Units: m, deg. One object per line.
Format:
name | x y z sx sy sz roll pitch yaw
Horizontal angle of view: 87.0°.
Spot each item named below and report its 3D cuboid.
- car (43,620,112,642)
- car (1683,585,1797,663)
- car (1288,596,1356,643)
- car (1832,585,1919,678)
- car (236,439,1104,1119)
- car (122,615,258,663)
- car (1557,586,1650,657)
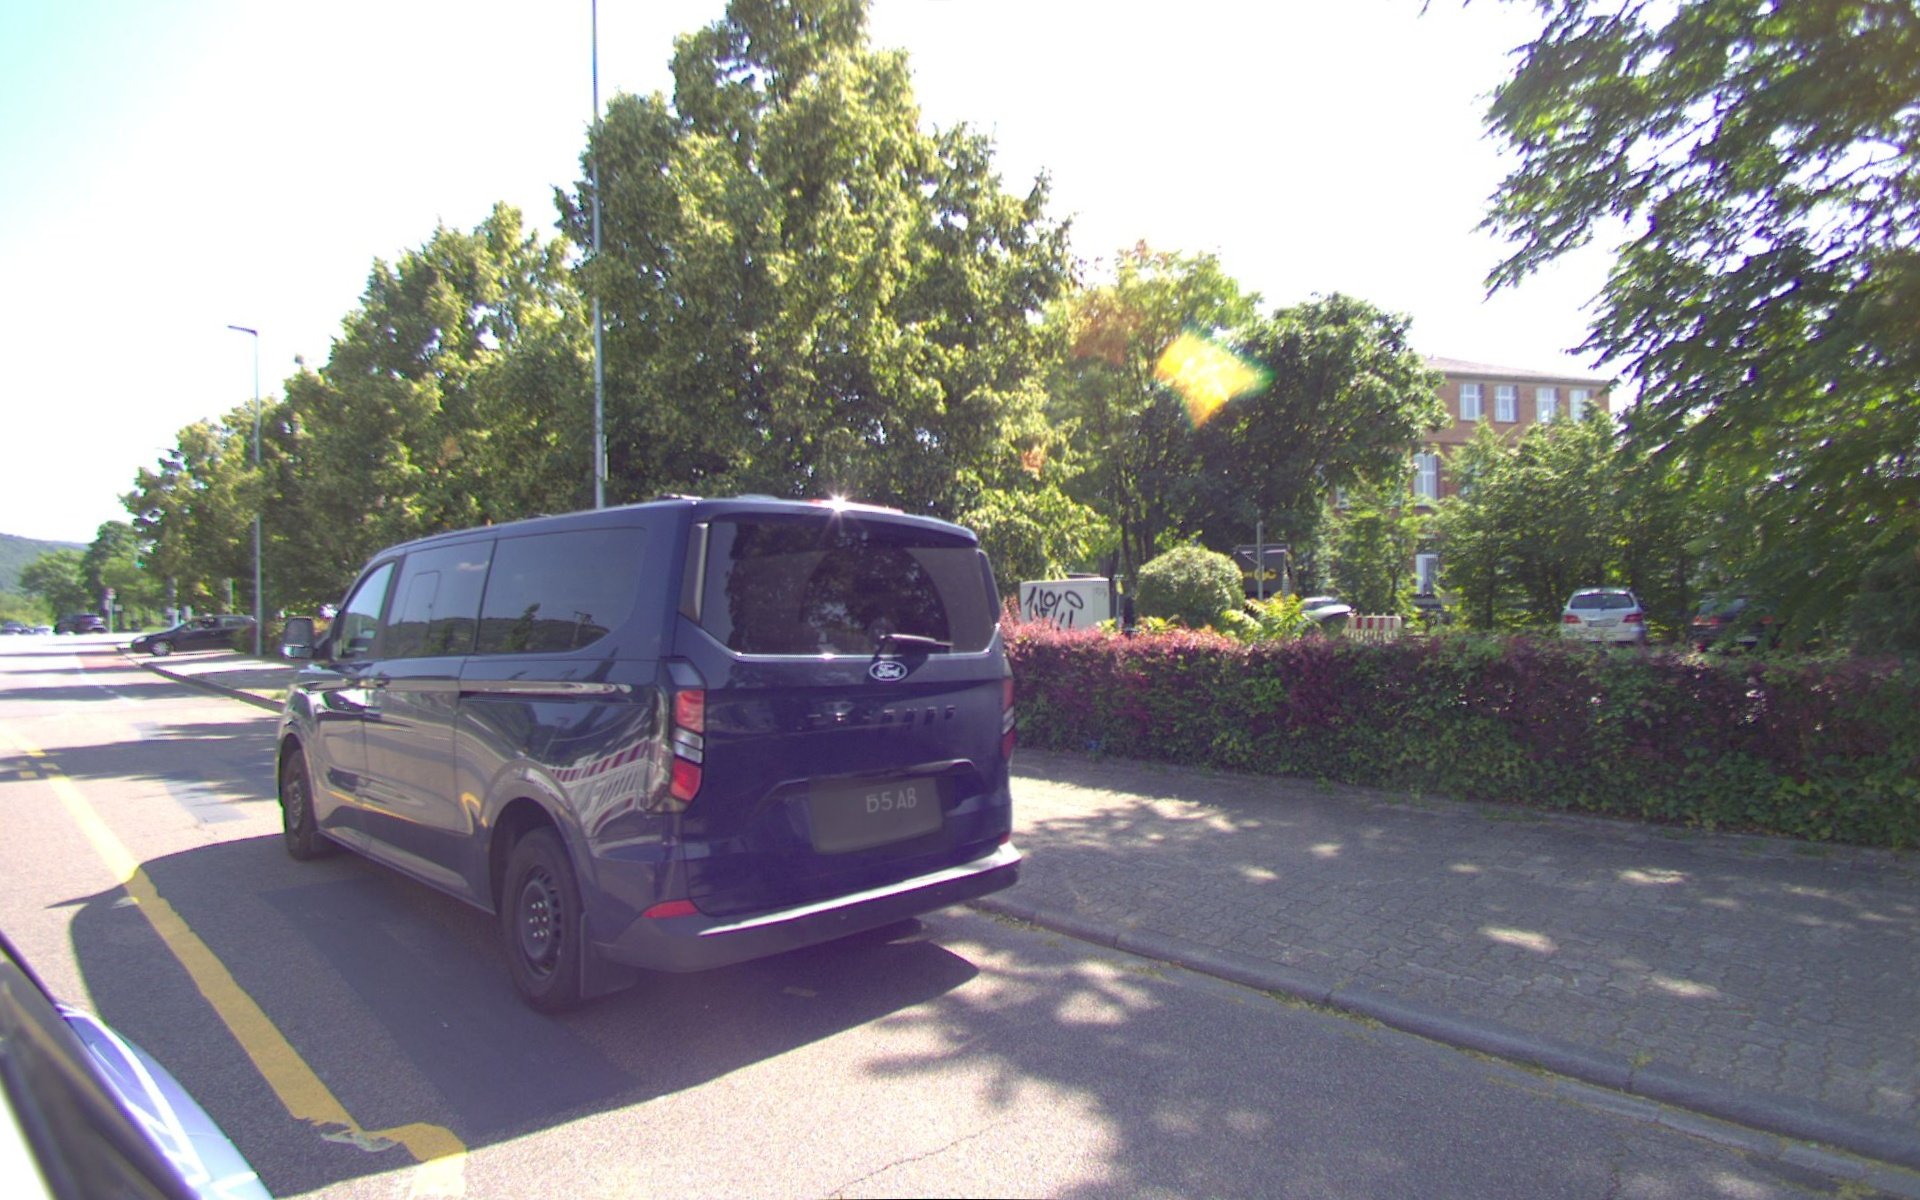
car | -70.759 2.474 81.180 4.483 1.657 1.991 0 -1 14
car | 17.094 0.485 22.336 1.770 1.481 3.952 -3 0 35
car | 12.726 0.651 35.463 1.765 1.487 3.965 -3 0 26
car | 17.163 0.499 18.186 1.700 1.464 3.955 -3 0 33
car | -2.068 0.575 5.637 5.445 1.983 2.152 -1 -3 44
car | -28.954 1.407 38.096 3.938 1.475 1.884 -4 2 -41
car | 16.049 0.495 25.182 1.769 1.584 3.954 -2 0 34
